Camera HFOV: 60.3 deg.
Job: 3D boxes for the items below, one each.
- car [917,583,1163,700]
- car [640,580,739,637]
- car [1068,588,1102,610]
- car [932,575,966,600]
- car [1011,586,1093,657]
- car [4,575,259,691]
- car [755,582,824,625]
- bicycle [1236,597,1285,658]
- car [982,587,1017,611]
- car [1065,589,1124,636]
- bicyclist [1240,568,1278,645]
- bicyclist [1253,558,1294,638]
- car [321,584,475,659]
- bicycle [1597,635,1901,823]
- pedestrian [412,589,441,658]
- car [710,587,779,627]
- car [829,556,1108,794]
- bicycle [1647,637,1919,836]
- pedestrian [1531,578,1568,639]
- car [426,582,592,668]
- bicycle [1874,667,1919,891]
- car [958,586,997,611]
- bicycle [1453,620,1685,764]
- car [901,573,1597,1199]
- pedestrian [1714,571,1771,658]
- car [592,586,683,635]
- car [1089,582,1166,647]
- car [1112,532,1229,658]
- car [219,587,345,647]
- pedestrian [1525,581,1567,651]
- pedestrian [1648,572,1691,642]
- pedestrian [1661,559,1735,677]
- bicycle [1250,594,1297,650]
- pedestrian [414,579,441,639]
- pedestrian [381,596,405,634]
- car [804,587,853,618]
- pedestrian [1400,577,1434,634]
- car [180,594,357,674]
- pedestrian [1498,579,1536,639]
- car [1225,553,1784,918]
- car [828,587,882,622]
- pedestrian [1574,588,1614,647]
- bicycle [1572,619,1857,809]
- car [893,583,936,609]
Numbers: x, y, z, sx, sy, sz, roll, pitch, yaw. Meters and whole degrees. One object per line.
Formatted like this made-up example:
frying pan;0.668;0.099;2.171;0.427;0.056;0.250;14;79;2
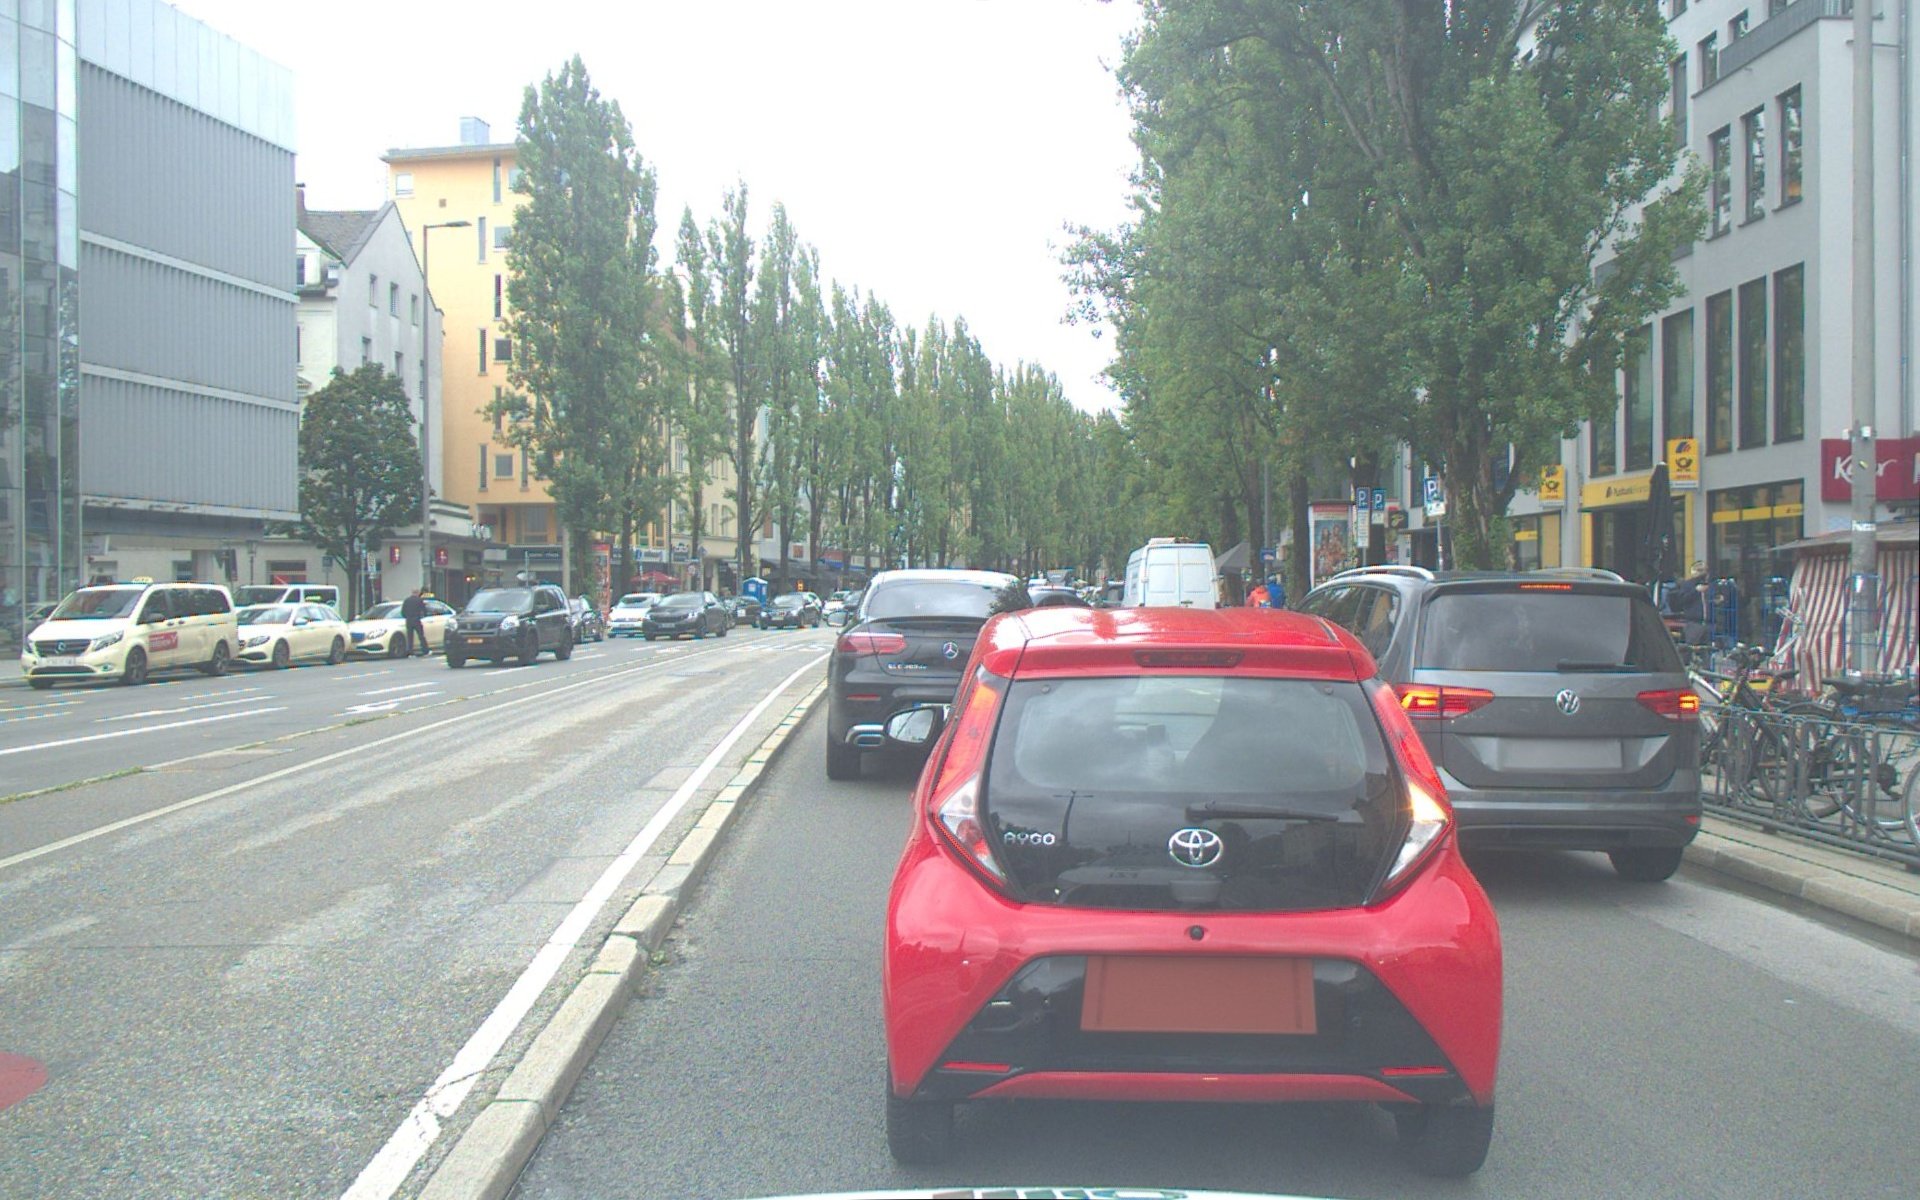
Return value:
car;1.234;0.551;23.691;1.885;1.512;3.908;0;0;32
car;-8.588;0.237;52.995;1.951;1.721;4.924;-1;0;5
car;8.853;-0.097;117.111;1.735;1.464;3.941;0;1;14
car;-0.854;-1.002;135.444;1.951;1.967;4.418;0;0;11
car;2.136;0.477;39.118;1.668;1.617;3.555;0;0;-2
car;-15.904;0.561;32.160;1.952;2.049;5.525;-1;0;3
car;-7.114;0.103;69.391;1.951;1.721;4.924;-1;0;5
bicycle;6.695;0.588;36.959;0.601;1.287;2.519;-1;1;-1
car;3.038;-0.089;125.345;1.951;1.721;4.418;-1;0;11
car;4.591;0.399;56.902;1.668;1.556;3.555;0;0;-2
bicyclist;6.669;0.137;36.932;0.601;1.686;1.251;-1;0;-1
bicyclist;7.627;-0.048;40.326;0.747;1.902;1.132;-1;0;-1
car;-14.689;0.520;43.522;1.951;1.848;4.537;-1;0;9
bicycle;5.395;0.839;11.377;1.805;1.156;0.583;0;0;41
pedestrian;-13.542;0.602;42.011;0.683;1.727;0.622;-1;0;-19
car;-9.884;0.303;76.199;1.951;1.721;4.925;-1;0;7
car;-0.009;0.525;13.795;1.953;1.646;3.998;2;0;-2
bicycle;5.434;0.836;10.617;1.805;1.156;0.583;0;0;41
pedestrian;15.479;0.212;43.455;0.699;1.585;0.676;-1;0;-2
car;-9.662;0.486;35.884;1.952;1.721;4.923;-1;0;4
bicycle;5.430;0.892;7.884;1.805;1.070;0.583;0;0;41
car;1.265;-0.105;117.127;1.951;1.721;4.418;-1;0;11
bicycle;5.245;0.766;14.299;1.800;1.156;0.584;0;0;34
car;0.644;0.684;5.343;1.572;1.487;3.129;1;0;-1
pedestrian;14.896;0.263;31.501;0.718;1.630;0.741;-1;0;-2
car;-11.773;0.347;60.682;1.951;1.721;4.924;-1;0;5
car;4.524;0.376;45.166;1.668;1.691;3.555;0;0;-2
car;4.871;-0.136;38.884;2.064;2.766;4.803;-1;0;-1
car;-21.327;0.491;52.231;1.830;1.803;4.245;-1;0;7
pedestrian;13.338;0.355;37.631;0.699;1.585;0.676;-1;0;-2
pedestrian;16.489;0.160;38.445;0.699;1.585;0.676;-1;0;-2
pedestrian;11.238;0.261;25.204;0.774;1.758;0.763;-1;0;-2
bicycle;7.635;0.516;40.377;0.601;1.287;2.519;-1;1;-1
pedestrian;-16.561;0.263;51.449;0.545;1.849;0.628;0;0;9
pedestrian;-19.919;0.538;58.106;0.545;1.313;0.628;-1;0;9
car;-7.431;0.116;93.636;1.951;1.721;4.924;-1;0;5
pedestrian;13.171;0.165;47.676;0.748;1.621;0.676;-1;0;-2
car;-15.645;0.720;37.696;1.952;1.684;4.534;-1;0;2
pedestrian;12.581;0.202;37.364;0.625;1.329;0.676;-1;0;-2
car;2.897;0.608;9.990;1.735;1.675;4.707;0;0;-1
car;-5.221;0.200;83.007;1.951;1.721;4.924;-1;0;5
pedestrian;14.298;0.387;37.307;0.625;1.329;0.676;-1;0;-2
bicycle;5.465;0.784;12.046;1.805;1.263;0.583;0;0;41
car;-3.061;-0.301;111.508;1.951;1.721;4.418;-1;0;11
